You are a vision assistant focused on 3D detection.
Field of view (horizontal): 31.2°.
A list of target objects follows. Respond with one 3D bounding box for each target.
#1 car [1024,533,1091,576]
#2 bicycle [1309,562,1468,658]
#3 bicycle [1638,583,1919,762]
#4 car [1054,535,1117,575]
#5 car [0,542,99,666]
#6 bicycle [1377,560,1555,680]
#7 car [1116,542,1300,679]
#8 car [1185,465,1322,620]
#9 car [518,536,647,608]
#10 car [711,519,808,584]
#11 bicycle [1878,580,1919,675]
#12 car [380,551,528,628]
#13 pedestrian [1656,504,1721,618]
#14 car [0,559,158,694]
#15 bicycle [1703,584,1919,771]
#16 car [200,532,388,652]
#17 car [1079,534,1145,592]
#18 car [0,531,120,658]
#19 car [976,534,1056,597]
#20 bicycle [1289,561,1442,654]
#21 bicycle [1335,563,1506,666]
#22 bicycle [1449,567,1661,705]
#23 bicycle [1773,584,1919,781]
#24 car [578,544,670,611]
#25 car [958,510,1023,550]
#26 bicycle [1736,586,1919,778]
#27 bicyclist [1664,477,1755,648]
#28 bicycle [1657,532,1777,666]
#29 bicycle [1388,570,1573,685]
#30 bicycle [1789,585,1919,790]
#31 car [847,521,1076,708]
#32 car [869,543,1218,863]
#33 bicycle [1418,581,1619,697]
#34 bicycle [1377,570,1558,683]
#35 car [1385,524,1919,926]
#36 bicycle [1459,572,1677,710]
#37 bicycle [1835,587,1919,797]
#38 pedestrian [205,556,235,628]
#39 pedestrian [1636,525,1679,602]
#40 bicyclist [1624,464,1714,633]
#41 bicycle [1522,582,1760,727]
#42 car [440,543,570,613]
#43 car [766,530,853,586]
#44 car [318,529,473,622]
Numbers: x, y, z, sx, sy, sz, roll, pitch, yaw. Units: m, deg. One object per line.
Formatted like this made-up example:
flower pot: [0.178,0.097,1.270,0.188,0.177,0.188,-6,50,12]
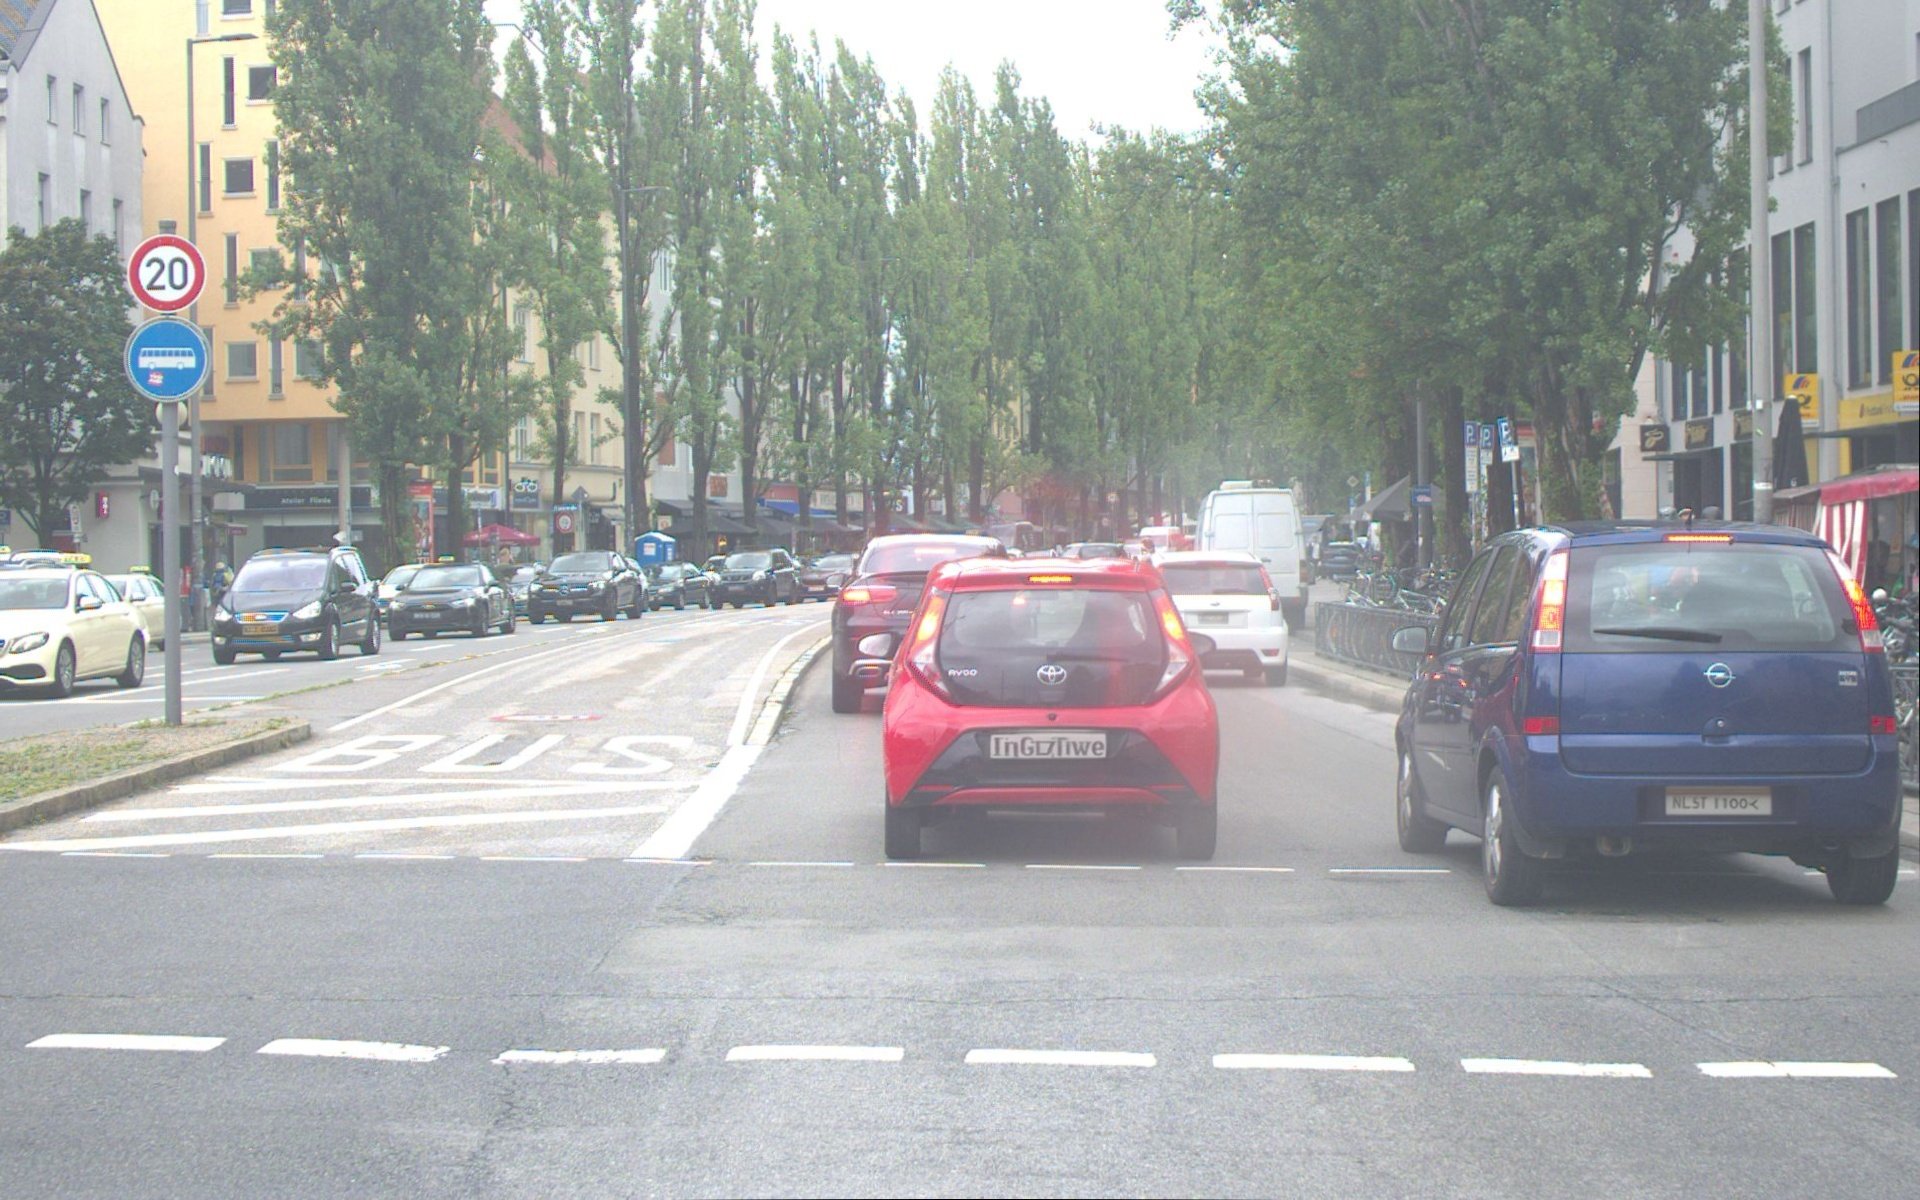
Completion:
car: [4.065,-1.908,142.555,1.994,1.686,4.411,-1,1,12]
bicycle: [5.150,0.112,41.408,1.836,1.132,0.585,0,1,36]
bicycle: [5.548,0.467,23.176,1.803,1.154,0.651,0,1,36]
car: [5.564,-2.008,151.536,1.994,1.686,4.411,-1,1,12]
car: [-13.345,0.023,47.242,1.839,1.608,4.258,-1,1,2]
bicycle: [5.349,0.201,36.419,1.836,1.237,0.585,0,1,42]
car: [2.701,0.081,38.096,1.699,1.421,3.497,-1,1,-1]
car: [5.338,-1.061,63.126,2.107,2.709,4.804,-1,1,0]
car: [-8.424,-0.646,77.100,1.994,1.529,4.587,-1,1,5]
car: [-5.660,-1.377,97.623,1.994,1.686,4.920,3,1,5]
bicycle: [10.164,0.274,35.186,1.432,0.960,0.369,-1,1,6]
car: [-9.637,-0.227,65.838,1.845,1.378,4.600,-1,1,4]
pedestrian: [11.153,-0.597,52.642,0.790,1.722,0.764,-1,1,0]
car: [-10.672,0.268,39.548,1.765,1.417,4.639,-1,1,0]
bicycle: [5.668,0.482,21.799,1.802,1.154,0.486,0,1,30]
car: [-10.157,-0.156,52.745,1.936,1.733,4.588,-1,1,0]
car: [5.072,-1.244,114.253,1.994,1.831,3.999,-1,1,5]
car: [-16.228,-0.132,58.838,1.994,2.006,5.523,-1,2,4]
car: [1.353,-0.835,81.271,1.773,1.434,3.938,-1,1,2]
bicycle: [5.050,0.085,42.875,1.836,1.132,0.585,0,1,36]
bicycle: [5.170,0.158,38.678,1.836,1.132,0.585,0,1,36]
bicycle: [5.327,0.310,30.851,1.836,1.193,0.585,0,1,42]
bicycle: [5.807,0.486,20.483,1.801,1.154,0.486,0,1,26]
car: [-9.565,-0.663,98.193,1.857,1.809,3.999,1,1,5]
car: [1.351,-3.072,151.135,1.994,1.686,4.411,-1,1,12]
bicycle: [5.732,0.496,21.144,1.802,1.154,0.486,0,1,29]
bicyclist: [7.415,-0.378,34.058,0.614,1.652,1.251,-1,1,0]
bicycle: [7.448,-0.034,33.915,0.614,1.260,2.520,-1,1,0]
bicycle: [5.288,0.269,34.991,1.836,1.132,0.585,0,1,42]
bicycle: [5.709,0.496,19.674,1.803,1.154,0.547,0,1,38]
car: [-0.019,0.090,32.213,1.993,1.612,4.000,-1,1,-1]
car: [0.400,0.455,17.560,1.605,1.456,3.130,1,1,0]
bicycle: [5.228,0.356,32.260,1.836,1.048,0.585,0,1,42]
bicycle: [5.264,0.263,35.753,1.836,1.132,0.585,0,1,42]
car: [2.986,0.462,15.373,1.703,1.584,3.556,0,1,0]
bicycle: [5.307,0.340,30.070,1.836,1.164,0.585,0,1,42]
bicycle: [5.805,0.510,18.991,1.803,1.154,0.547,0,1,38]
pedestrian: [-20.631,-0.229,95.823,0.687,1.990,0.765,-1,1,-3]
pedestrian: [14.236,-0.752,70.189,0.713,1.553,0.676,-1,1,0]
bicyclist: [7.986,-0.587,38.759,0.762,1.863,1.133,-1,1,0]
bicycle: [5.398,0.419,27.314,1.803,1.107,0.561,0,1,41]
car: [-11.135,-0.564,84.406,1.994,1.604,4.532,-1,1,8]
car: [-4.728,-1.319,108.870,1.994,1.686,4.920,-1,0,6]
car: [-12.832,-0.581,78.428,1.994,1.809,4.532,-4,2,10]
